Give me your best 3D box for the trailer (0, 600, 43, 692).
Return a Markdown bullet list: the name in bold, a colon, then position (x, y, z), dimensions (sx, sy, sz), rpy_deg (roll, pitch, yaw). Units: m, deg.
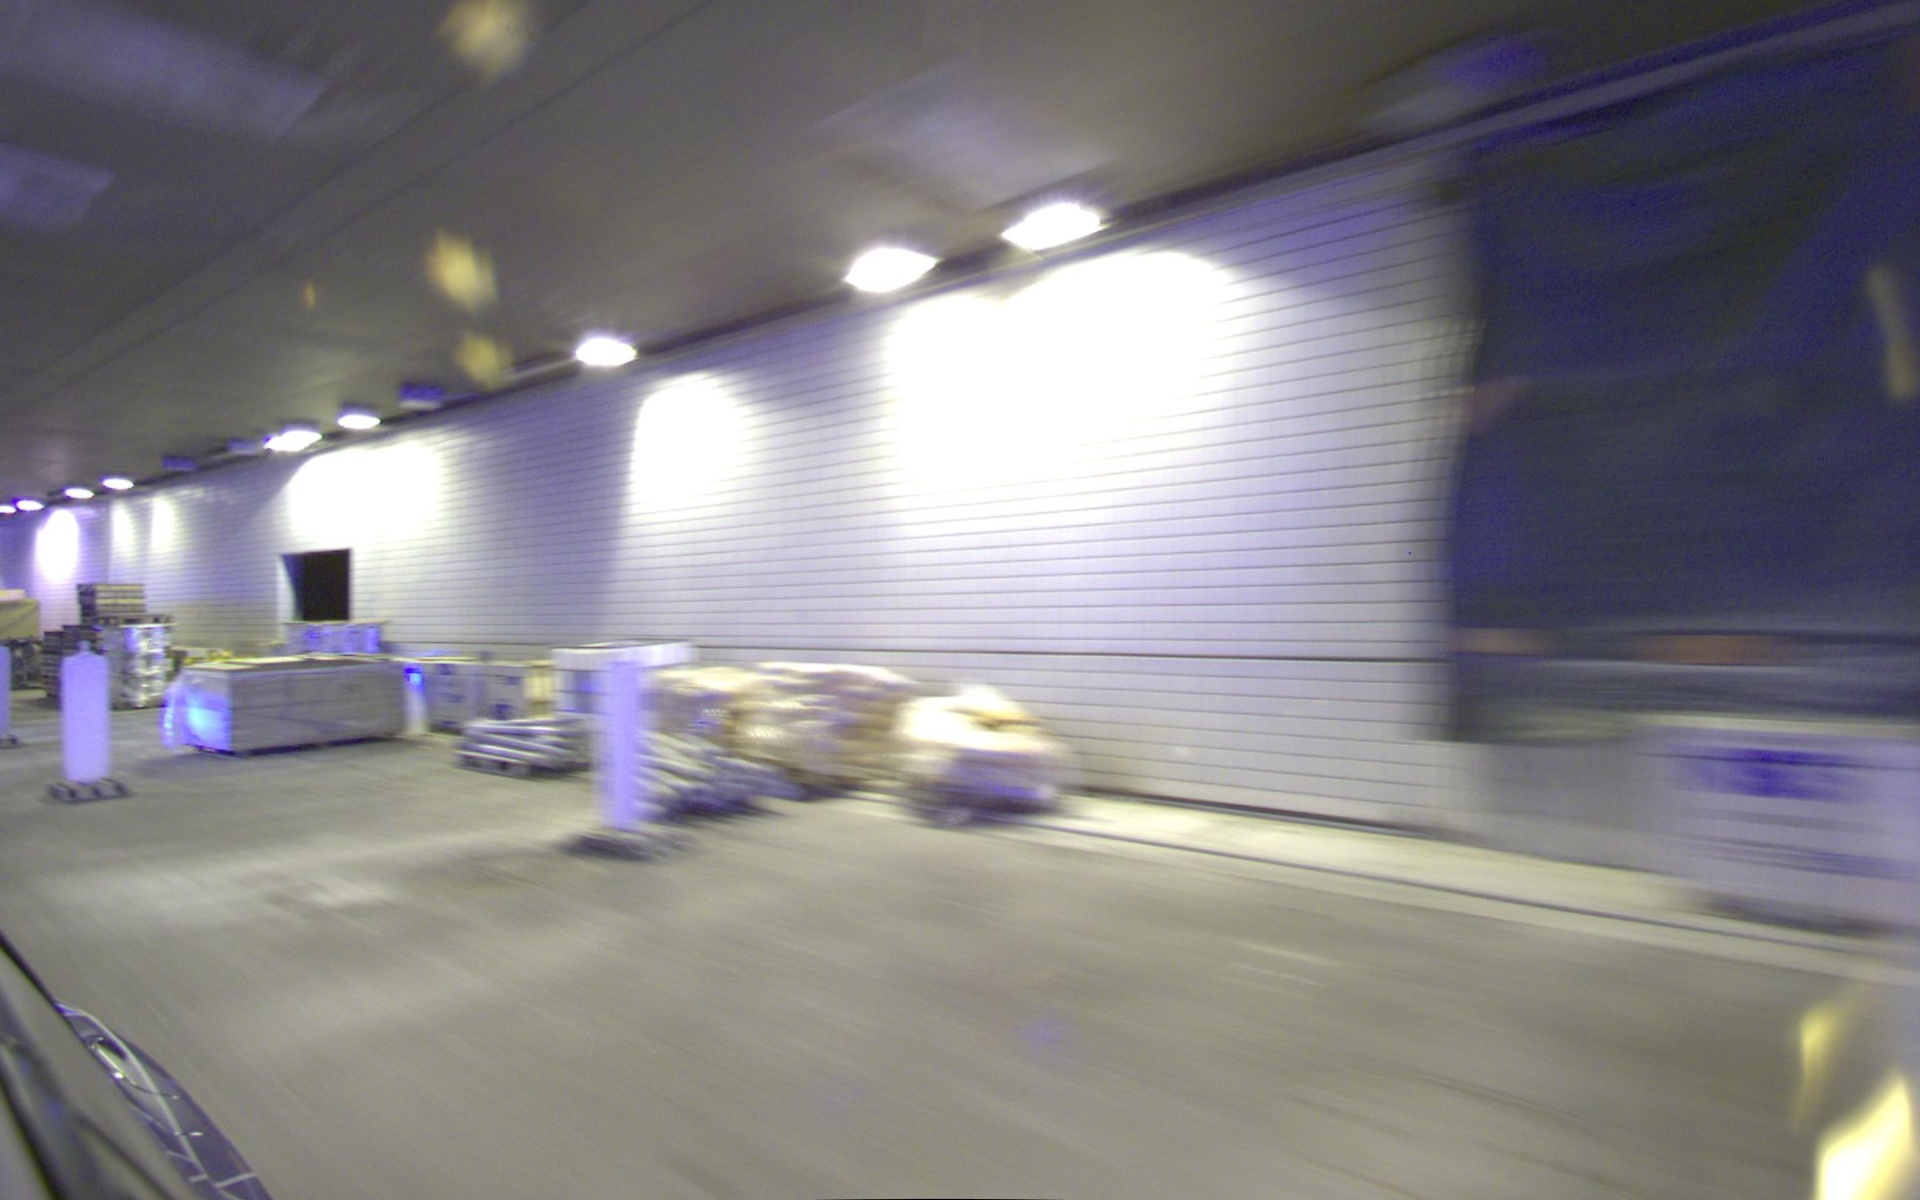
- **trailer**: position (-22.669, 1.019, 22.724), dimensions (3.454, 2.029, 2.192), rpy_deg (0, 0, 31)
